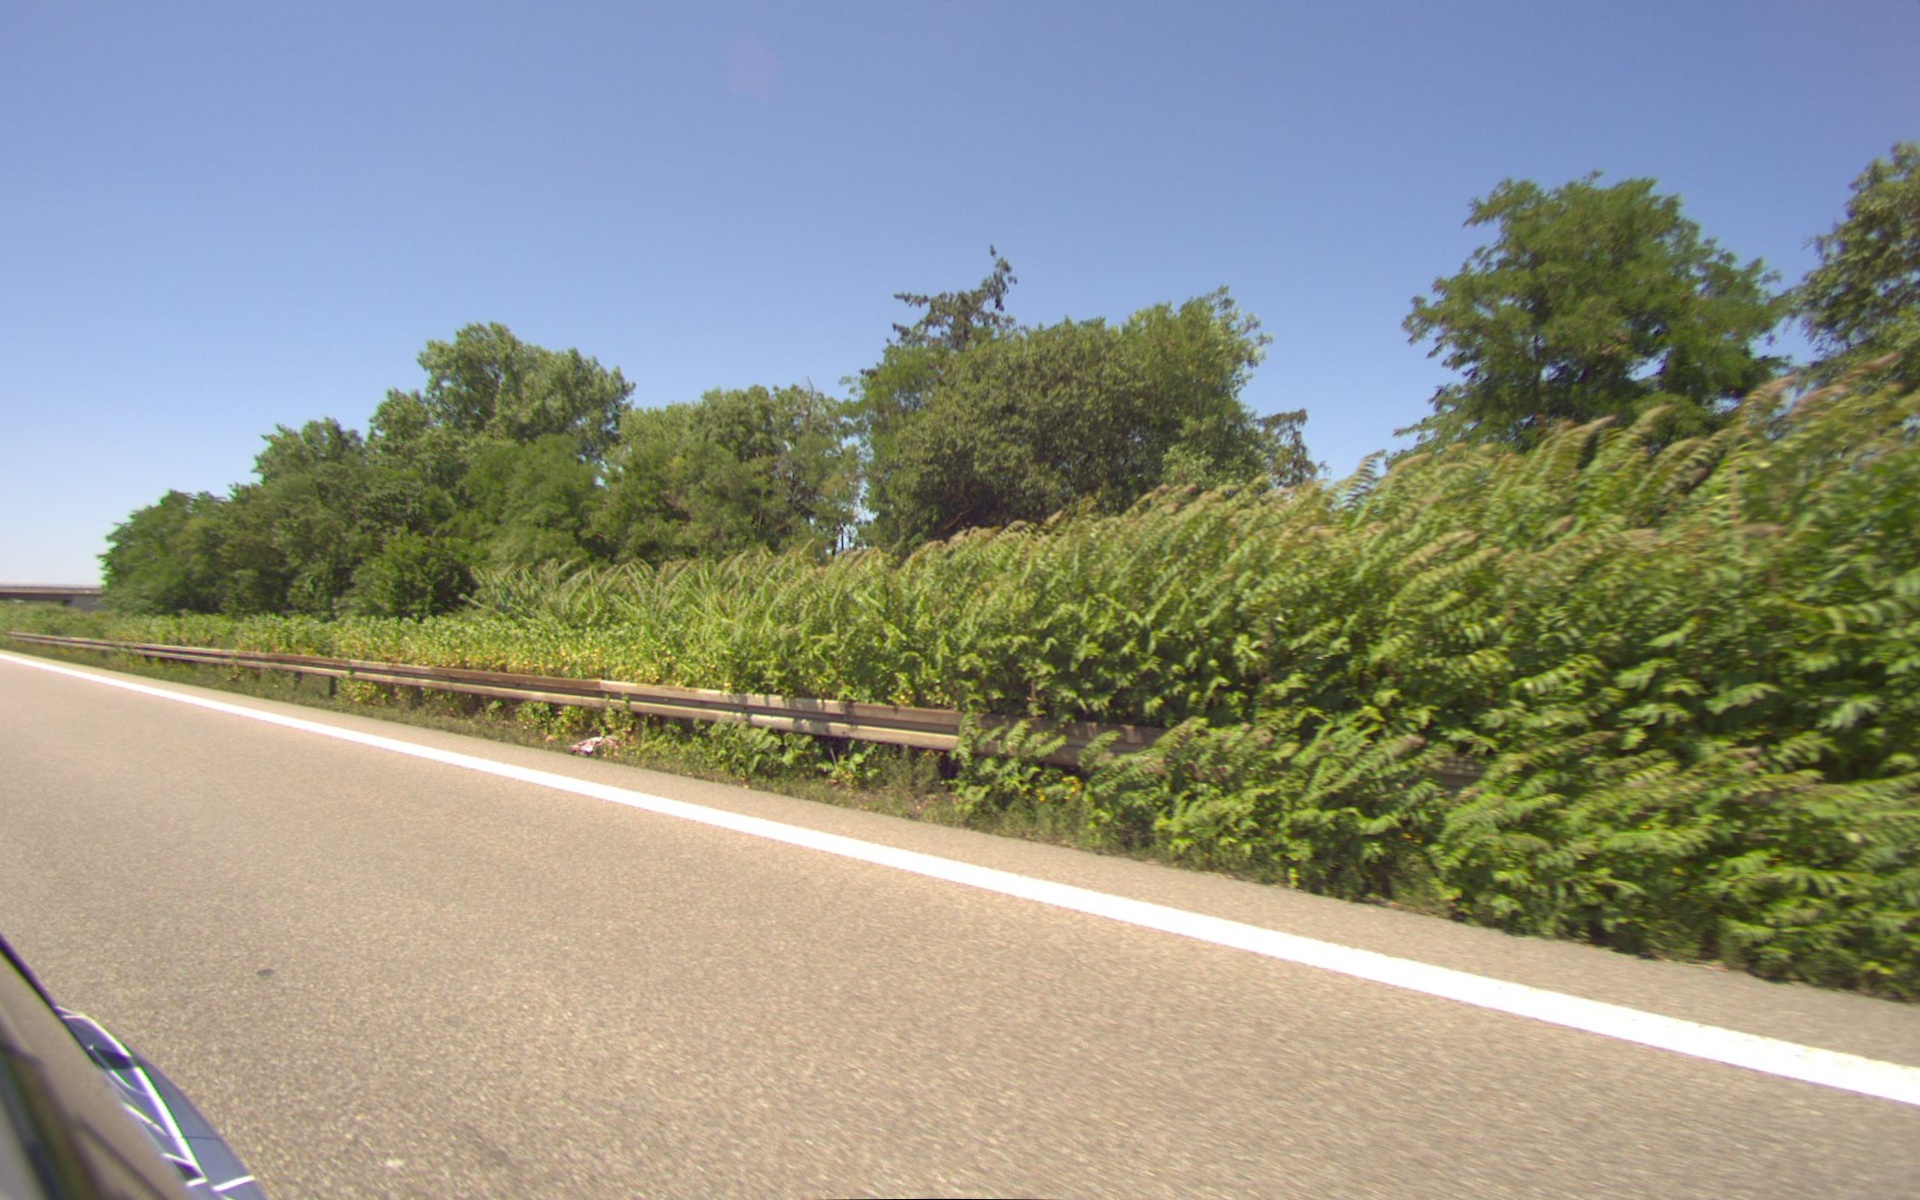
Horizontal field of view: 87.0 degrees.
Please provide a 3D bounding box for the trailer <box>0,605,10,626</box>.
[{"bbox_3d":[-167.990,2.779,176.067,14.150,3.443,2.559,-1,0,42],"label":"trailer"}]
